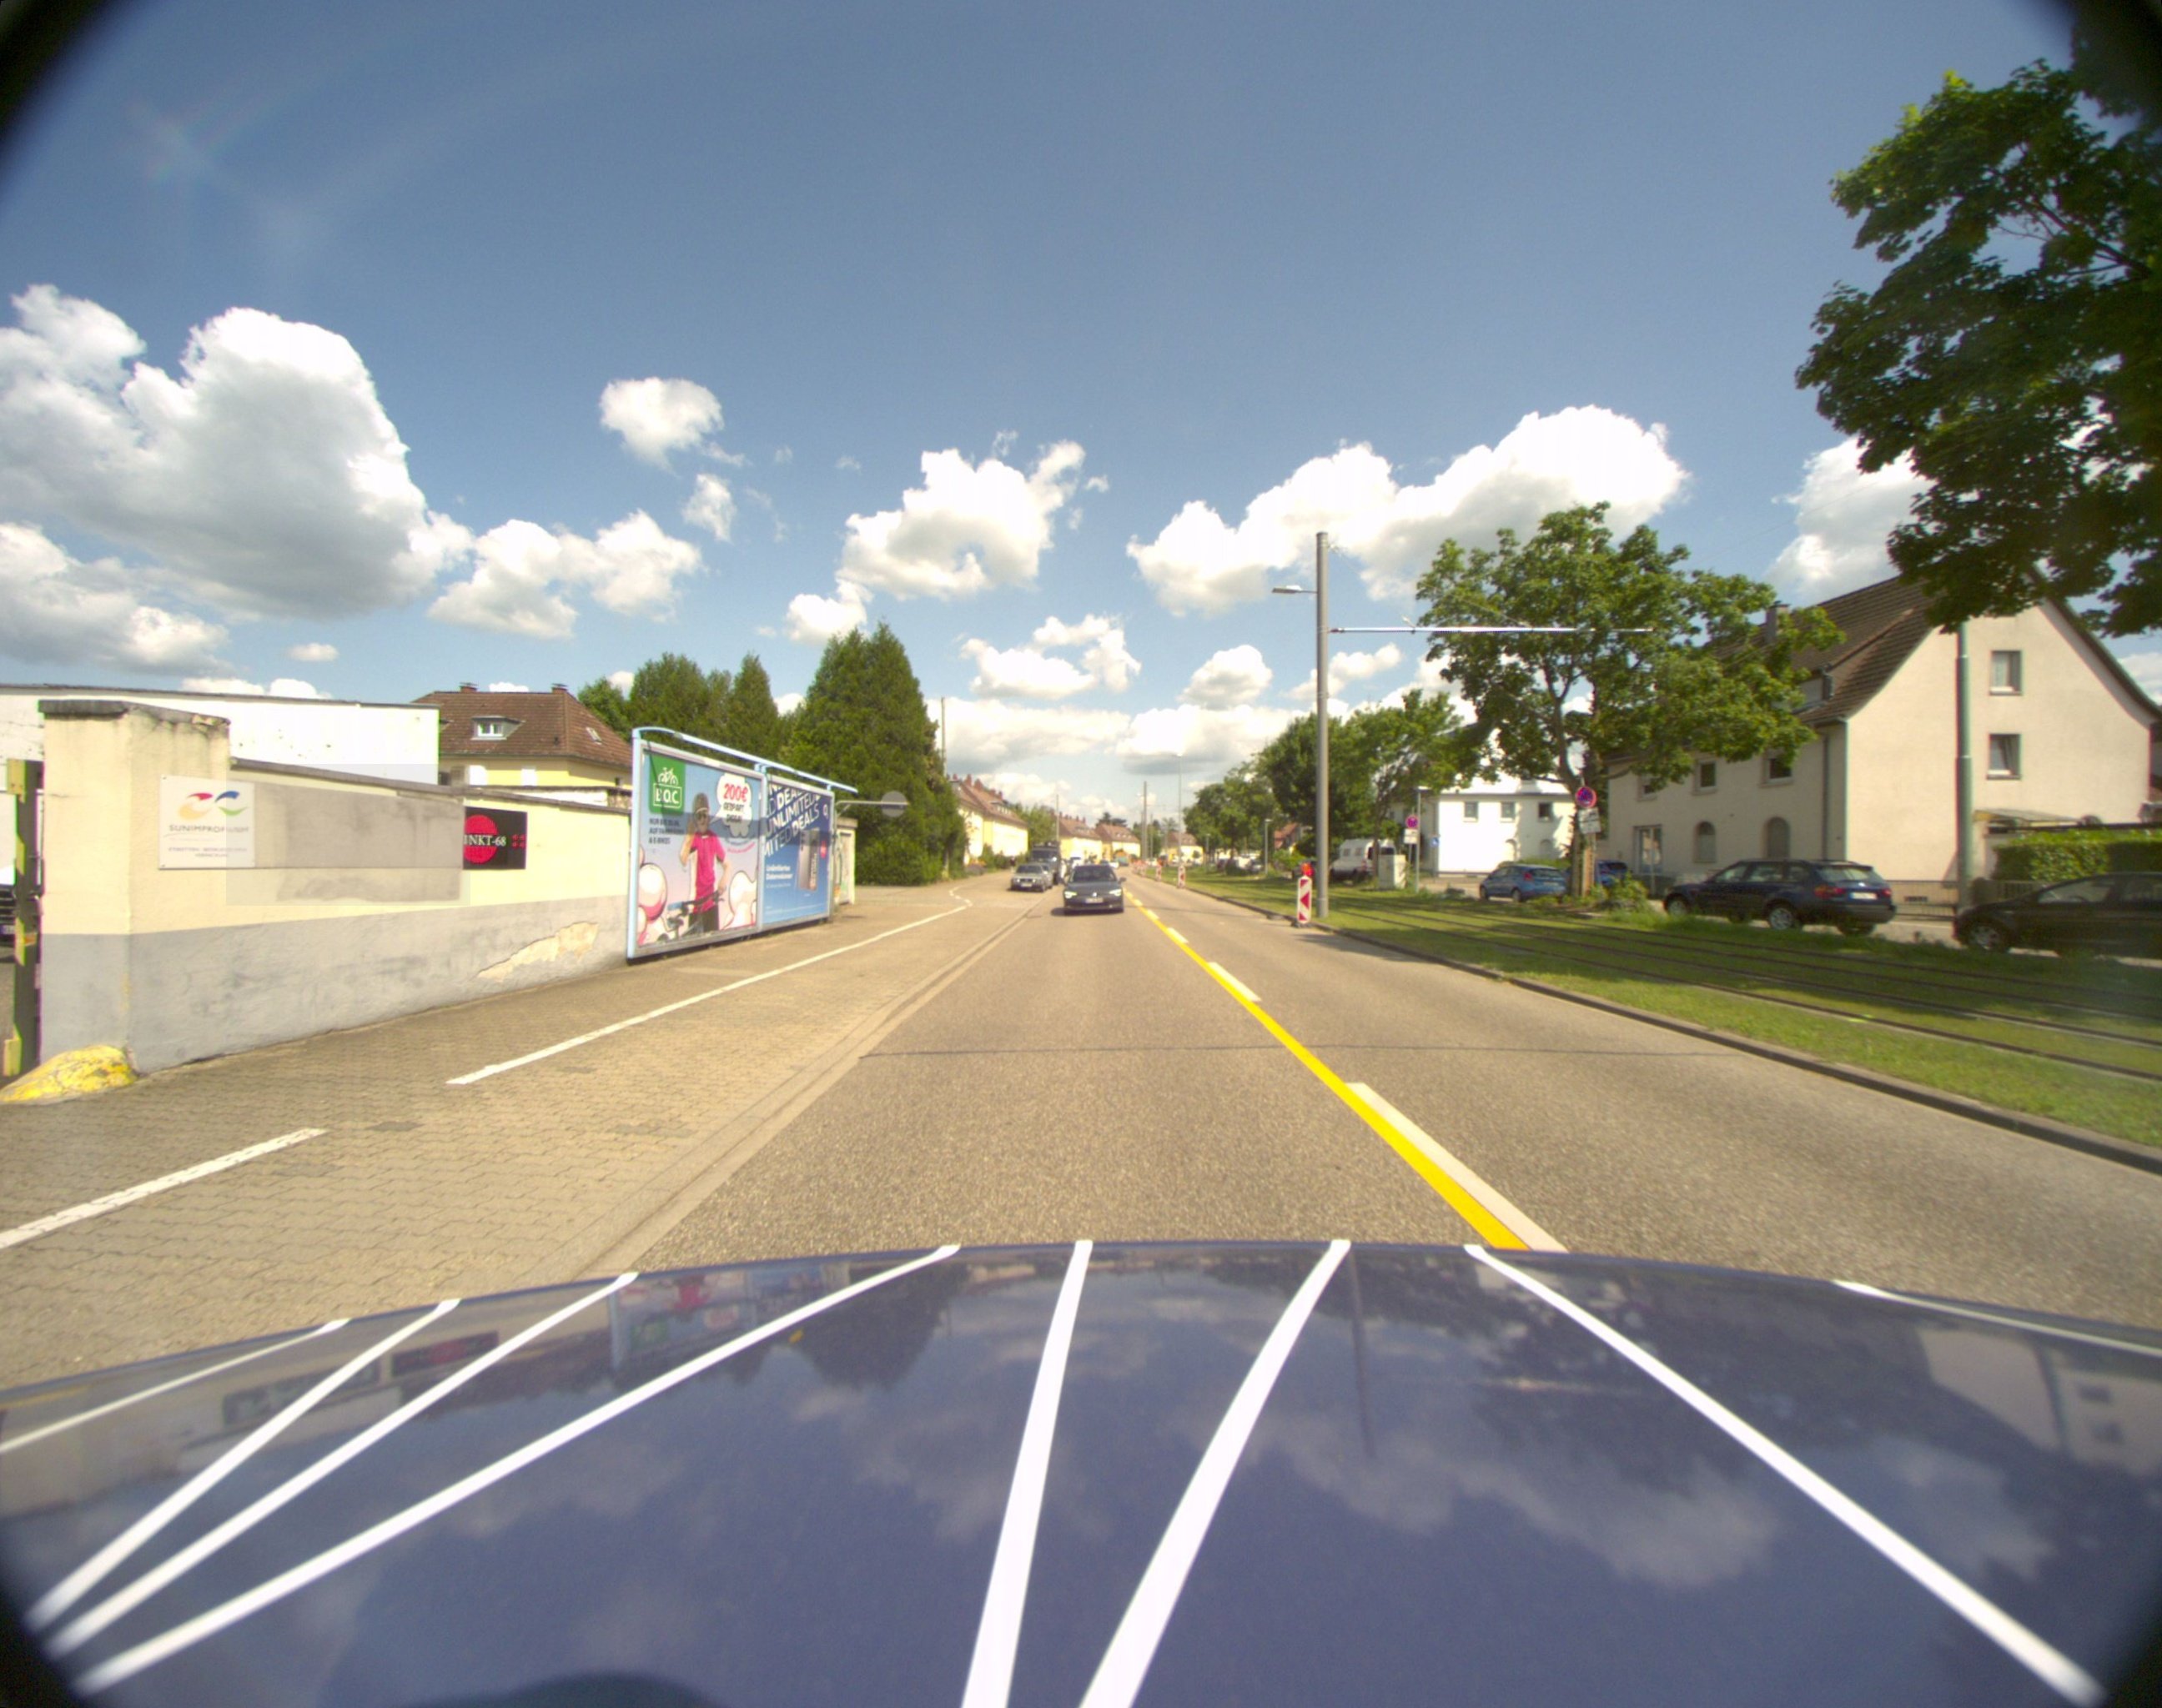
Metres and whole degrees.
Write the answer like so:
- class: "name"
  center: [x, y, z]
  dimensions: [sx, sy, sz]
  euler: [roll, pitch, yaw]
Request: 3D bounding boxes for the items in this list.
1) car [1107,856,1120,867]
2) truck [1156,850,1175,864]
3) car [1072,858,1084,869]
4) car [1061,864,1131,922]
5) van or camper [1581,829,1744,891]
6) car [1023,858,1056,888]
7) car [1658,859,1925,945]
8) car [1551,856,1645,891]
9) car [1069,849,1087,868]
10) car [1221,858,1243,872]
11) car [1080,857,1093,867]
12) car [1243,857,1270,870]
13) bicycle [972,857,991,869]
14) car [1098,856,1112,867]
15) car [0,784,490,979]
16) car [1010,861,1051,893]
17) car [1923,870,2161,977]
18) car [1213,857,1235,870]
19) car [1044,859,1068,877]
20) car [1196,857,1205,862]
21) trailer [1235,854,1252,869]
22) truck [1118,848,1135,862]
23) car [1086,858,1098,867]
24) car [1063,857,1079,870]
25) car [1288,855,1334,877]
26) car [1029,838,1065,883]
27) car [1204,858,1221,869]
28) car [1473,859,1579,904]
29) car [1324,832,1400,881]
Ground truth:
- class: "car"
  center: [5.625, 1.250, 130.956]
  dimensions: [1.997, 1.791, 4.002]
  euler: [0, 0, 6]
- class: "truck"
  center: [21.245, 0.843, 189.800]
  dimensions: [2.698, 3.346, 8.063]
  euler: [1, 0, 21]
- class: "car"
  center: [-0.364, 1.209, 98.670]
  dimensions: [1.358, 1.299, 3.543]
  euler: [1, 0, 2]
- class: "car"
  center: [0.385, 1.082, 22.529]
  dimensions: [1.786, 1.412, 4.290]
  euler: [-3, 0, 0]
- class: "van or camper"
  center: [31.297, 0.308, 41.095]
  dimensions: [6.744, 3.203, 2.635]
  euler: [0, 0, 1]
- class: "car"
  center: [-2.297, 1.040, 42.958]
  dimensions: [1.696, 1.507, 4.355]
  euler: [1, 1, -1]
- class: "car"
  center: [16.275, 1.002, 17.811]
  dimensions: [1.999, 1.681, 4.390]
  euler: [1, 1, -2]
- class: "car"
  center: [25.115, 0.895, 37.102]
  dimensions: [1.907, 1.568, 4.000]
  euler: [1, 1, 1]
- class: "car"
  center: [-0.337, 0.608, 103.372]
  dimensions: [1.923, 2.522, 5.346]
  euler: [1, 0, 5]
- class: "car"
  center: [17.815, 1.310, 89.763]
  dimensions: [1.910, 1.568, 4.102]
  euler: [4, -1, 2]
- class: "car"
  center: [0.807, 1.173, 112.430]
  dimensions: [1.513, 1.490, 3.408]
  euler: [1, 0, 7]
- class: "car"
  center: [17.102, 0.917, 74.149]
  dimensions: [1.785, 1.087, 3.836]
  euler: [1, 1, 1]
- class: "bicycle"
  center: [-9.172, 0.841, 70.052]
  dimensions: [1.693, 1.096, 0.290]
  euler: [0, 0, 1]
- class: "car"
  center: [3.394, 1.024, 109.087]
  dimensions: [1.998, 1.566, 4.000]
  euler: [0, 0, 1]
- class: "car"
  center: [-13.352, 0.242, 12.602]
  dimensions: [1.998, 2.430, 6.172]
  euler: [0, 2, 3]
- class: "car"
  center: [-2.480, 1.098, 38.102]
  dimensions: [1.655, 1.423, 4.097]
  euler: [1, 1, 2]
- class: "car"
  center: [16.448, 1.063, 11.927]
  dimensions: [1.998, 1.430, 4.000]
  euler: [2, 1, 1]
- class: "car"
  center: [17.801, 1.151, 94.833]
  dimensions: [1.998, 1.531, 4.322]
  euler: [1, 1, 2]
- class: "car"
  center: [-1.950, 1.103, 59.883]
  dimensions: [1.725, 1.287, 4.128]
  euler: [1, 0, 0]
- class: "car"
  center: [33.975, 1.579, 215.951]
  dimensions: [1.511, 1.490, 3.581]
  euler: [1, 0, 27]
- class: "trailer"
  center: [17.006, 0.750, 79.610]
  dimensions: [1.302, 1.510, 2.282]
  euler: [1, 0, 1]
- class: "truck"
  center: [10.016, 0.123, 168.057]
  dimensions: [2.530, 2.931, 7.868]
  euler: [1, 1, 12]
- class: "car"
  center: [1.783, 1.327, 121.556]
  dimensions: [1.513, 1.241, 3.408]
  euler: [1, 0, 7]
- class: "car"
  center: [-1.159, 1.089, 89.662]
  dimensions: [1.756, 1.480, 4.628]
  euler: [2, 0, 1]
- class: "car"
  center: [16.495, 0.838, 54.731]
  dimensions: [1.998, 1.497, 4.486]
  euler: [1, 1, 1]
- class: "car"
  center: [-2.138, 0.388, 49.008]
  dimensions: [2.001, 2.744, 4.879]
  euler: [1, 0, 1]
- class: "car"
  center: [19.627, 1.375, 113.623]
  dimensions: [1.998, 1.531, 4.323]
  euler: [1, 1, 4]
- class: "car"
  center: [16.287, 0.961, 28.039]
  dimensions: [1.758, 1.427, 3.890]
  euler: [1, 1, 3]
- class: "car"
  center: [16.574, 0.154, 45.286]
  dimensions: [1.999, 2.714, 6.462]
  euler: [1, 0, -1]
